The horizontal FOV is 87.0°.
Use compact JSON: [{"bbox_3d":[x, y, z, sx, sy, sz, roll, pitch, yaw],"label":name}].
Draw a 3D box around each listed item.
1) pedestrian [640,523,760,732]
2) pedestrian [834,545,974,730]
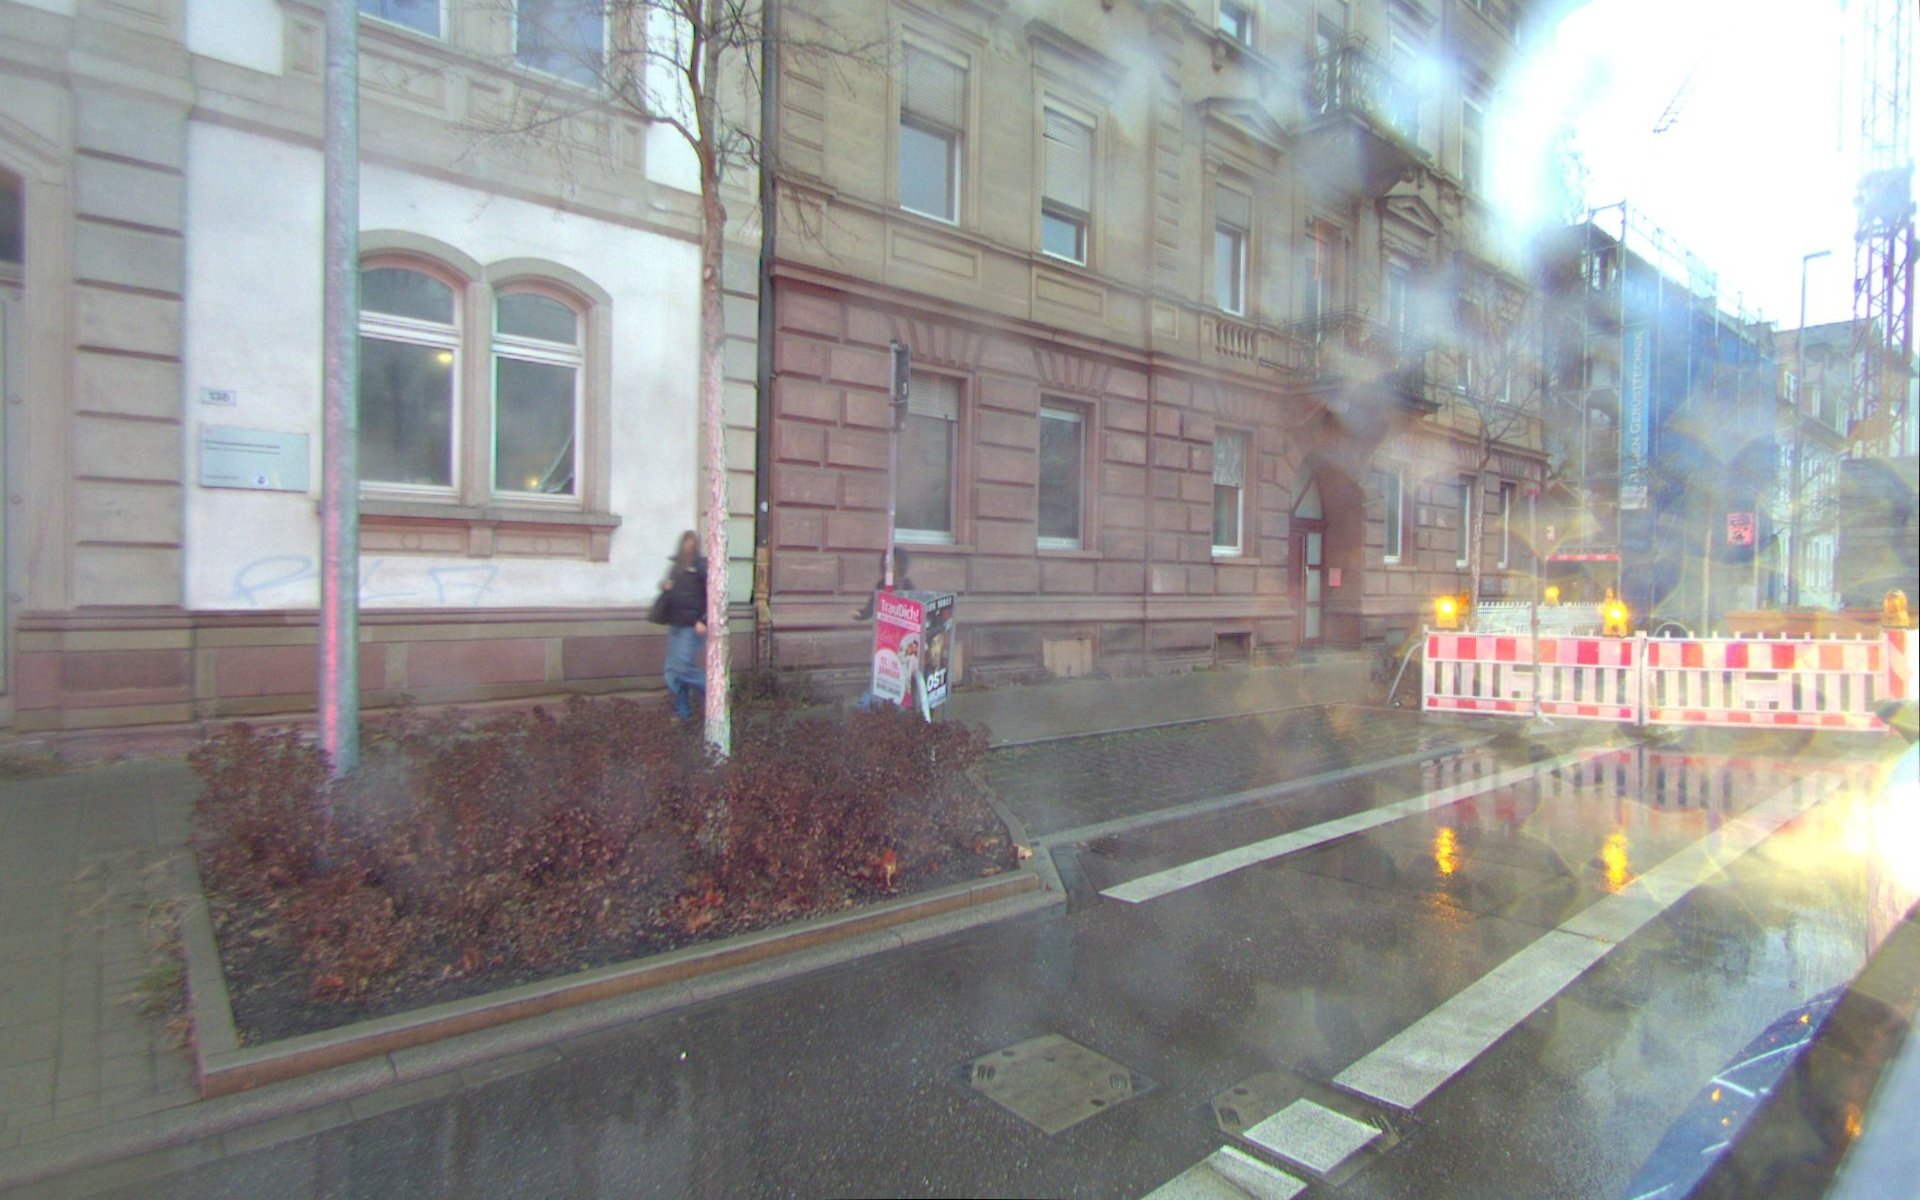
[{"bbox_3d":[-2.253,0.206,8.741,0.694,1.693,0.870,0,1,-38],"label":"pedestrian"},{"bbox_3d":[-0.514,0.300,9.197,0.913,1.564,0.870,0,2,-40],"label":"pedestrian"}]
